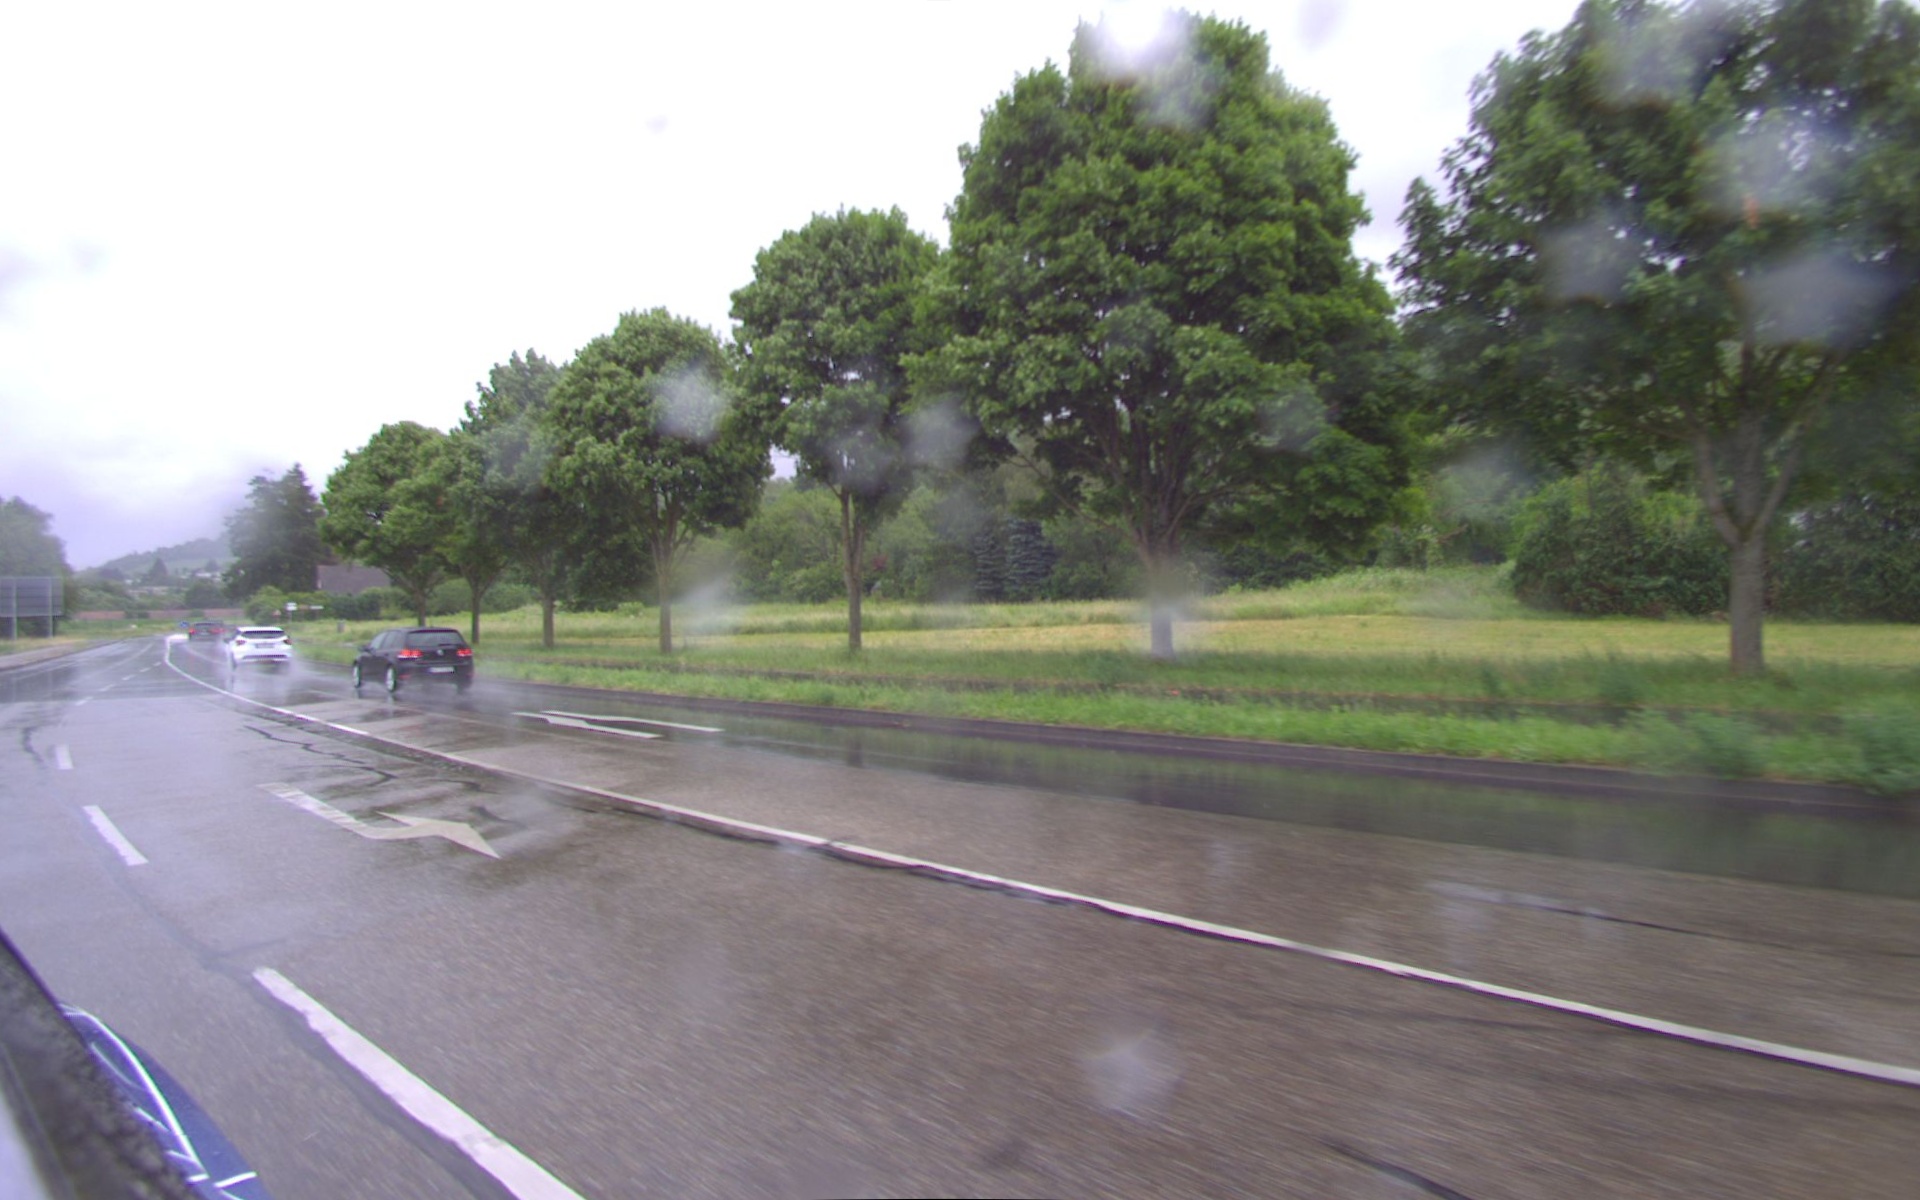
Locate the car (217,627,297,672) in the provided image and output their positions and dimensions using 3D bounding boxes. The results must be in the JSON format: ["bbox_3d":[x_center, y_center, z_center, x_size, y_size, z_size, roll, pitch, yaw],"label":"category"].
[{"bbox_3d":[-24.608,1.684,35.376,1.718,1.498,4.015,1,-2,-43],"label":"car"}]

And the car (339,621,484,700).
[{"bbox_3d":[-13.015,1.349,23.910,4.120,1.599,1.863,-1,2,45],"label":"car"}]

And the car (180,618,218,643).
[{"bbox_3d":[-55.285,2.227,73.521,1.900,1.756,4.295,1,-2,-41],"label":"car"}]
